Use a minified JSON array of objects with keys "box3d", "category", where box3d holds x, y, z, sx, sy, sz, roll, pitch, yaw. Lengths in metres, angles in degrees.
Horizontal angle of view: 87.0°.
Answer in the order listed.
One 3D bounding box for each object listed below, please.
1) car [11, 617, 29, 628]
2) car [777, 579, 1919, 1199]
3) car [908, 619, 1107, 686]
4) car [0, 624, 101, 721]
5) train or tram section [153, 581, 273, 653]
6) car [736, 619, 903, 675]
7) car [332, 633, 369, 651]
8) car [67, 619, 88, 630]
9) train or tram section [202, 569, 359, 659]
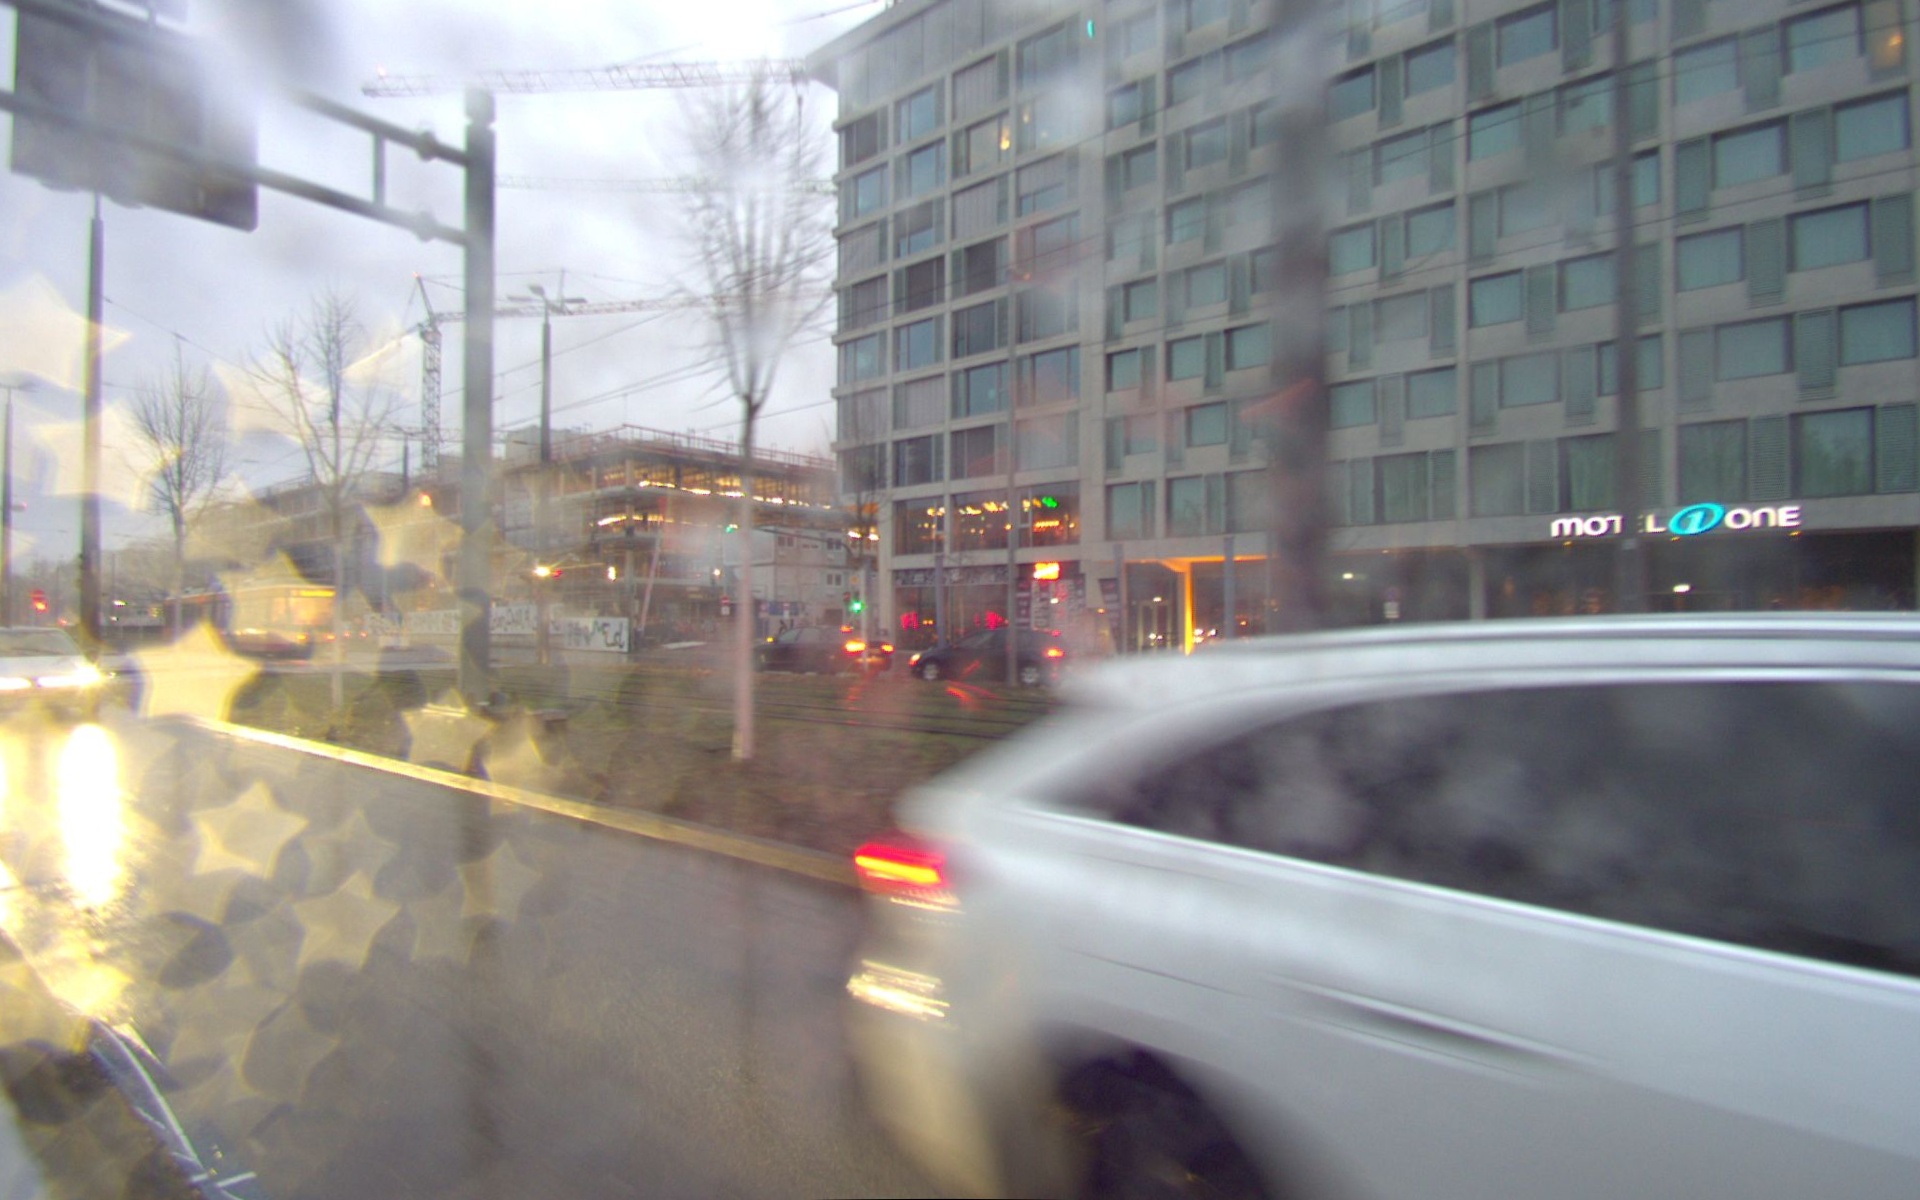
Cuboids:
[{"box3d":[-171.883,4.138,185.032,3.998,2.029,1.973,-2,-2,41],"category":"car"},{"box3d":[1.939,0.675,1.440,4.611,1.416,1.827,-1,0,40],"category":"car"},{"box3d":[1.143,1.245,24.610,4.425,1.508,1.983,-1,-2,26],"category":"car"},{"box3d":[-15.387,1.119,16.540,1.742,1.381,3.983,0,0,-45],"category":"car"},{"box3d":[-41.189,1.005,55.472,14.321,3.513,2.924,-2,-2,44],"category":"train or tram section"},{"box3d":[-4.107,1.296,28.941,5.032,1.479,1.972,-2,-2,42],"category":"car"},{"box3d":[-56.776,3.886,94.258,4.001,1.577,1.971,-2,-2,44],"category":"car"},{"box3d":[-148.443,4.164,170.229,3.996,1.837,1.974,-1,-2,40],"category":"car"},{"box3d":[-30.925,0.716,45.610,14.269,3.513,2.924,-2,-2,44],"category":"train or tram section"}]
